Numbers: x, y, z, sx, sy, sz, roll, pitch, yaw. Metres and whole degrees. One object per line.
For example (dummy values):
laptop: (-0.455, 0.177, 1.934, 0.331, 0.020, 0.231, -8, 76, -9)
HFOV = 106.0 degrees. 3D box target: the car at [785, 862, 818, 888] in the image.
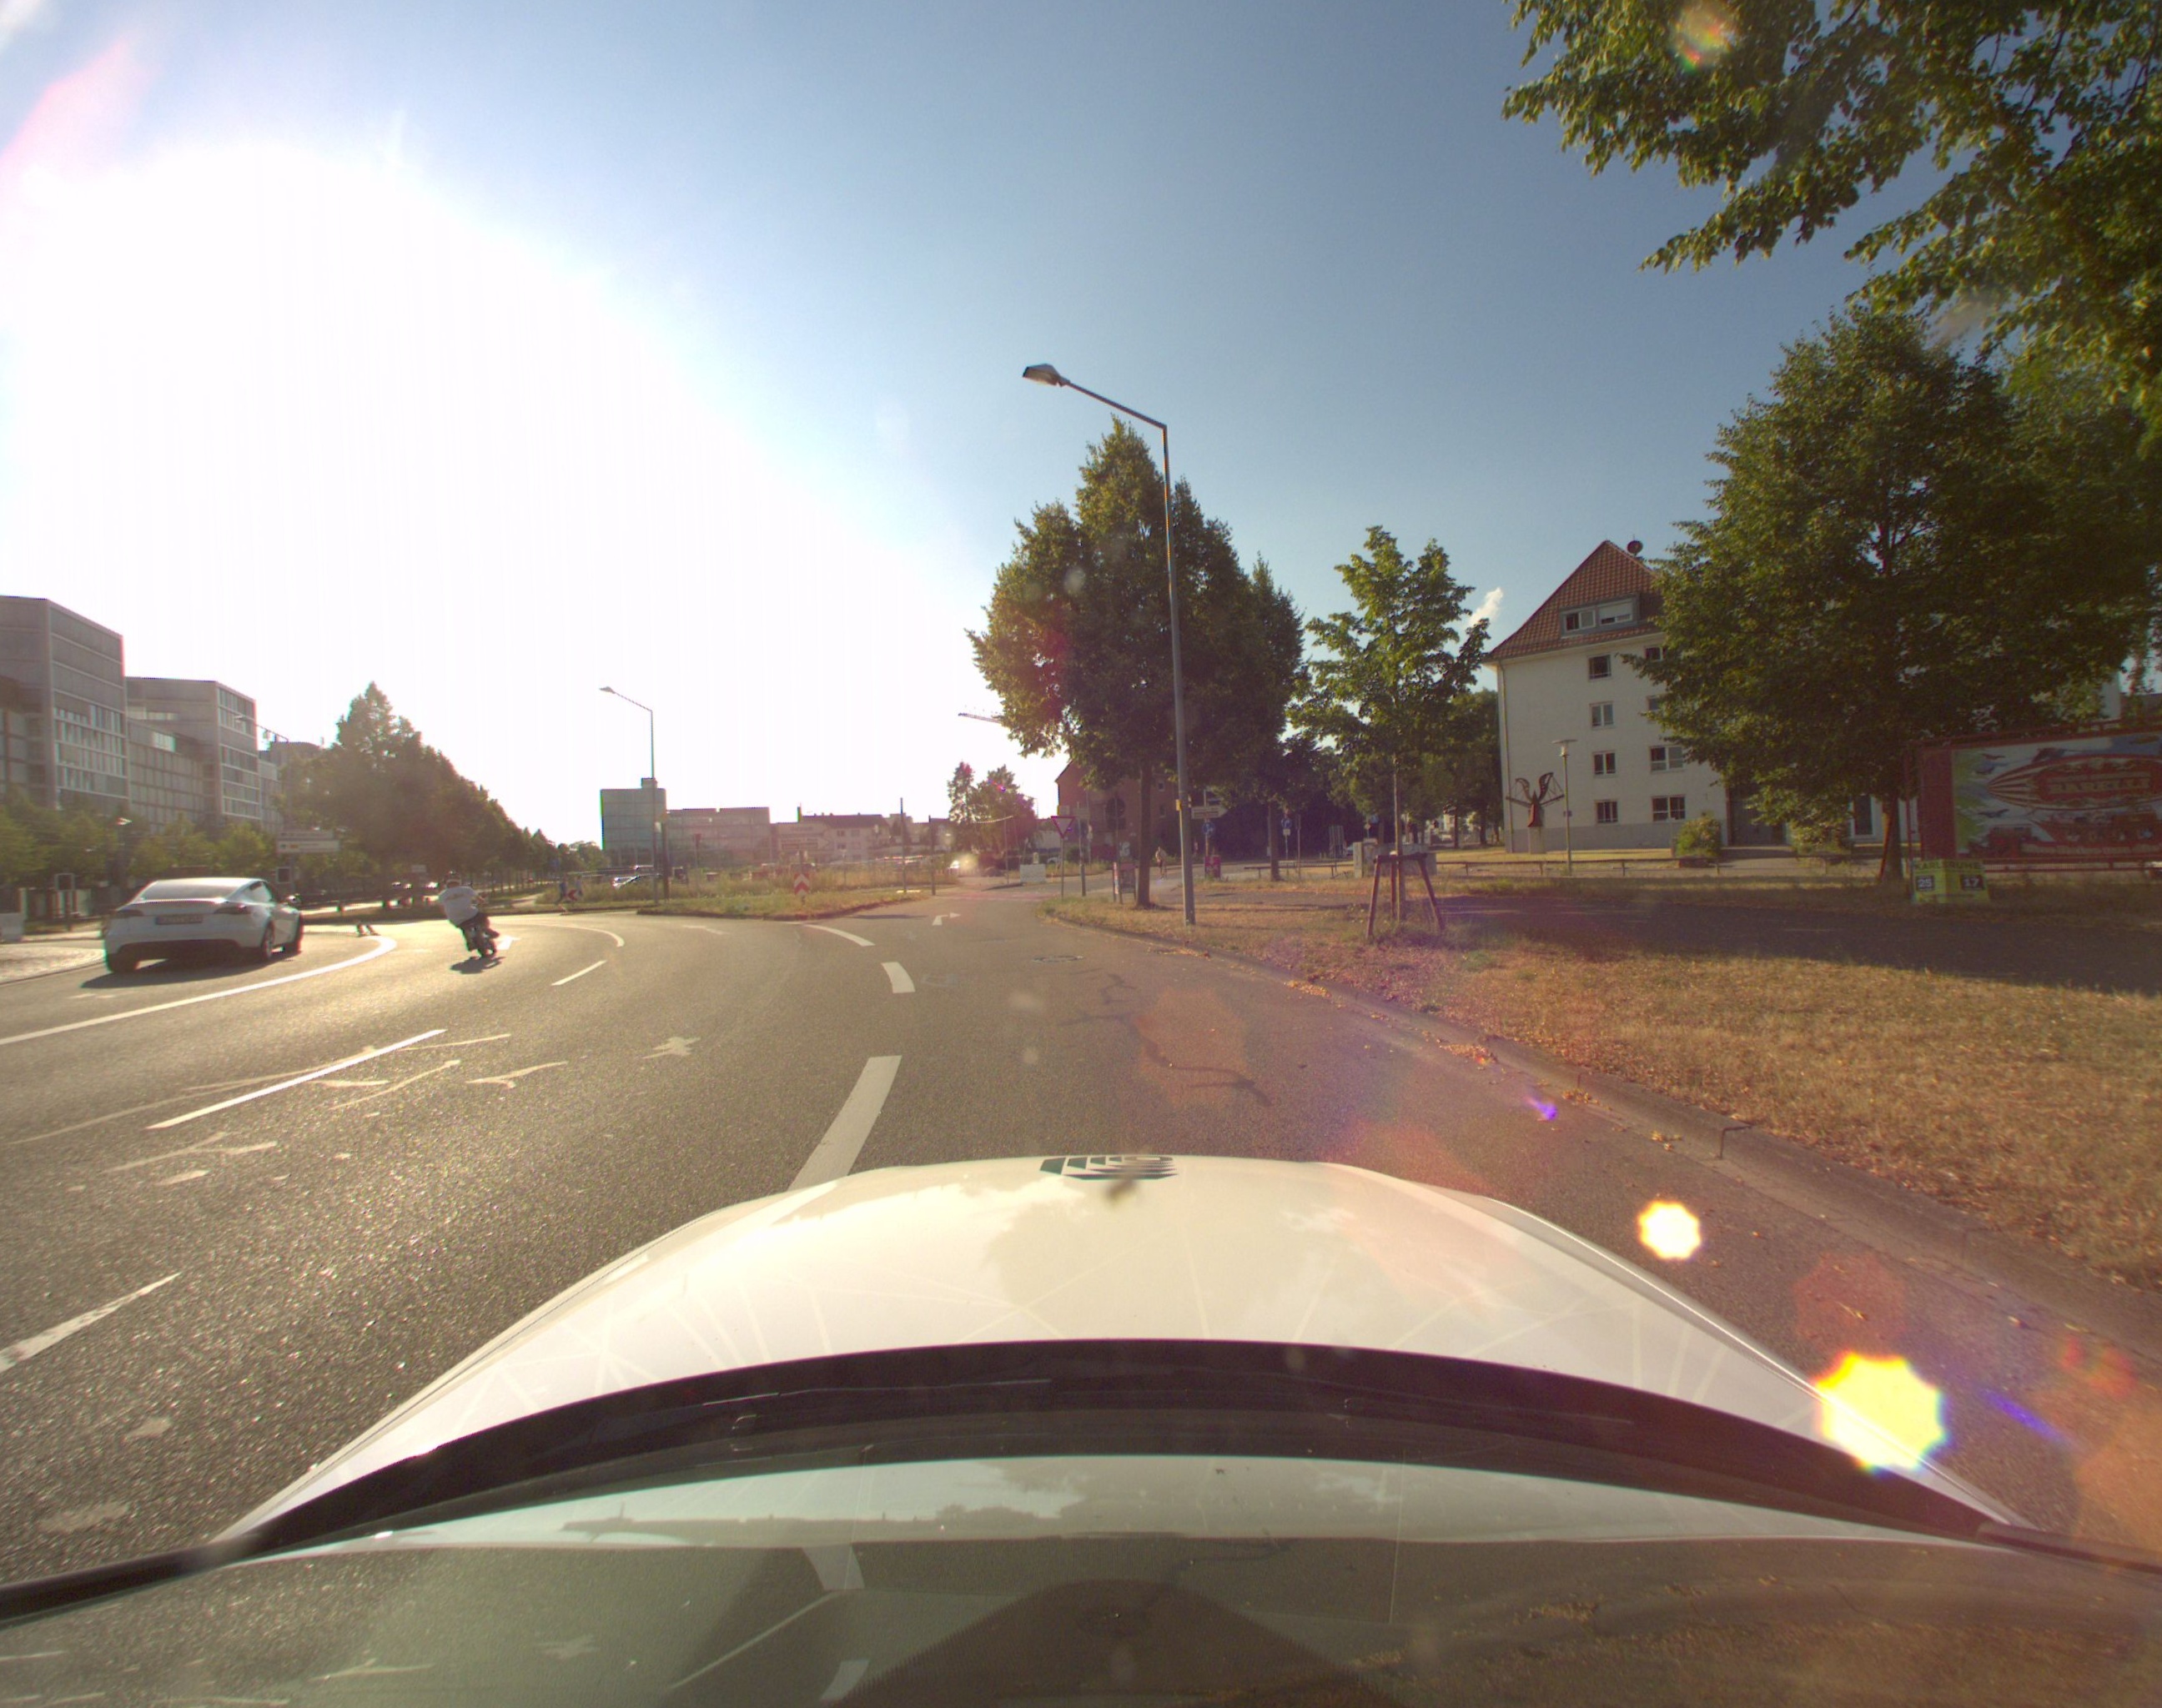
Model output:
car: (-22.409, 1.677, 65.499, 1.921, 1.854, 3.984, -3, 1, -12)

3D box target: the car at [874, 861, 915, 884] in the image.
car: (-17.743, 1.778, 77.480, 3.771, 2.013, 1.683, -3, 0, 35)

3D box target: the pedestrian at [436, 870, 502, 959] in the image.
pedestrian: (-11.178, 1.074, 14.900, 0.658, 1.519, 0.849, -3, 0, -18)

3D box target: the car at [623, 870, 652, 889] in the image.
car: (-49.710, 2.853, 91.236, 2.011, 2.013, 3.953, -3, 1, -40)

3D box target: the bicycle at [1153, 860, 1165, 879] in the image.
bicycle: (4.196, 0.818, 43.880, 0.594, 0.963, 2.108, -3, 0, 5)

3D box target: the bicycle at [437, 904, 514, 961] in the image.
bicycle: (-11.262, 1.427, 15.210, 0.478, 0.876, 1.846, -2, 0, -15)

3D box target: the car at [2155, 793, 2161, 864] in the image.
car: (24.161, -0.558, 16.819, 1.754, 1.618, 3.992, -3, 0, 44)

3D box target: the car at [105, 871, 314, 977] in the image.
car: (-16.683, 1.206, 15.878, 1.748, 1.599, 4.627, -2, 1, -34)

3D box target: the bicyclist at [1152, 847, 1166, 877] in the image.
bicyclist: (4.160, 0.416, 43.680, 0.655, 1.562, 0.895, -3, 0, 4)

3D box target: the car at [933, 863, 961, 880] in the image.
car: (-16.182, 2.119, 98.053, 1.680, 2.013, 3.778, -2, 0, -37)

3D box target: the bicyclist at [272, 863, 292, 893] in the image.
bicyclist: (-46.122, 1.392, 46.990, 0.605, 1.672, 0.477, -3, 0, -4)

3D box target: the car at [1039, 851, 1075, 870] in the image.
car: (-2.809, 0.802, 93.739, 3.771, 2.013, 1.683, -3, 0, 35)

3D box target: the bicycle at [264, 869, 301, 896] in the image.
bicycle: (-46.064, 1.652, 46.989, 1.536, 1.473, 0.479, -3, 0, -5)
